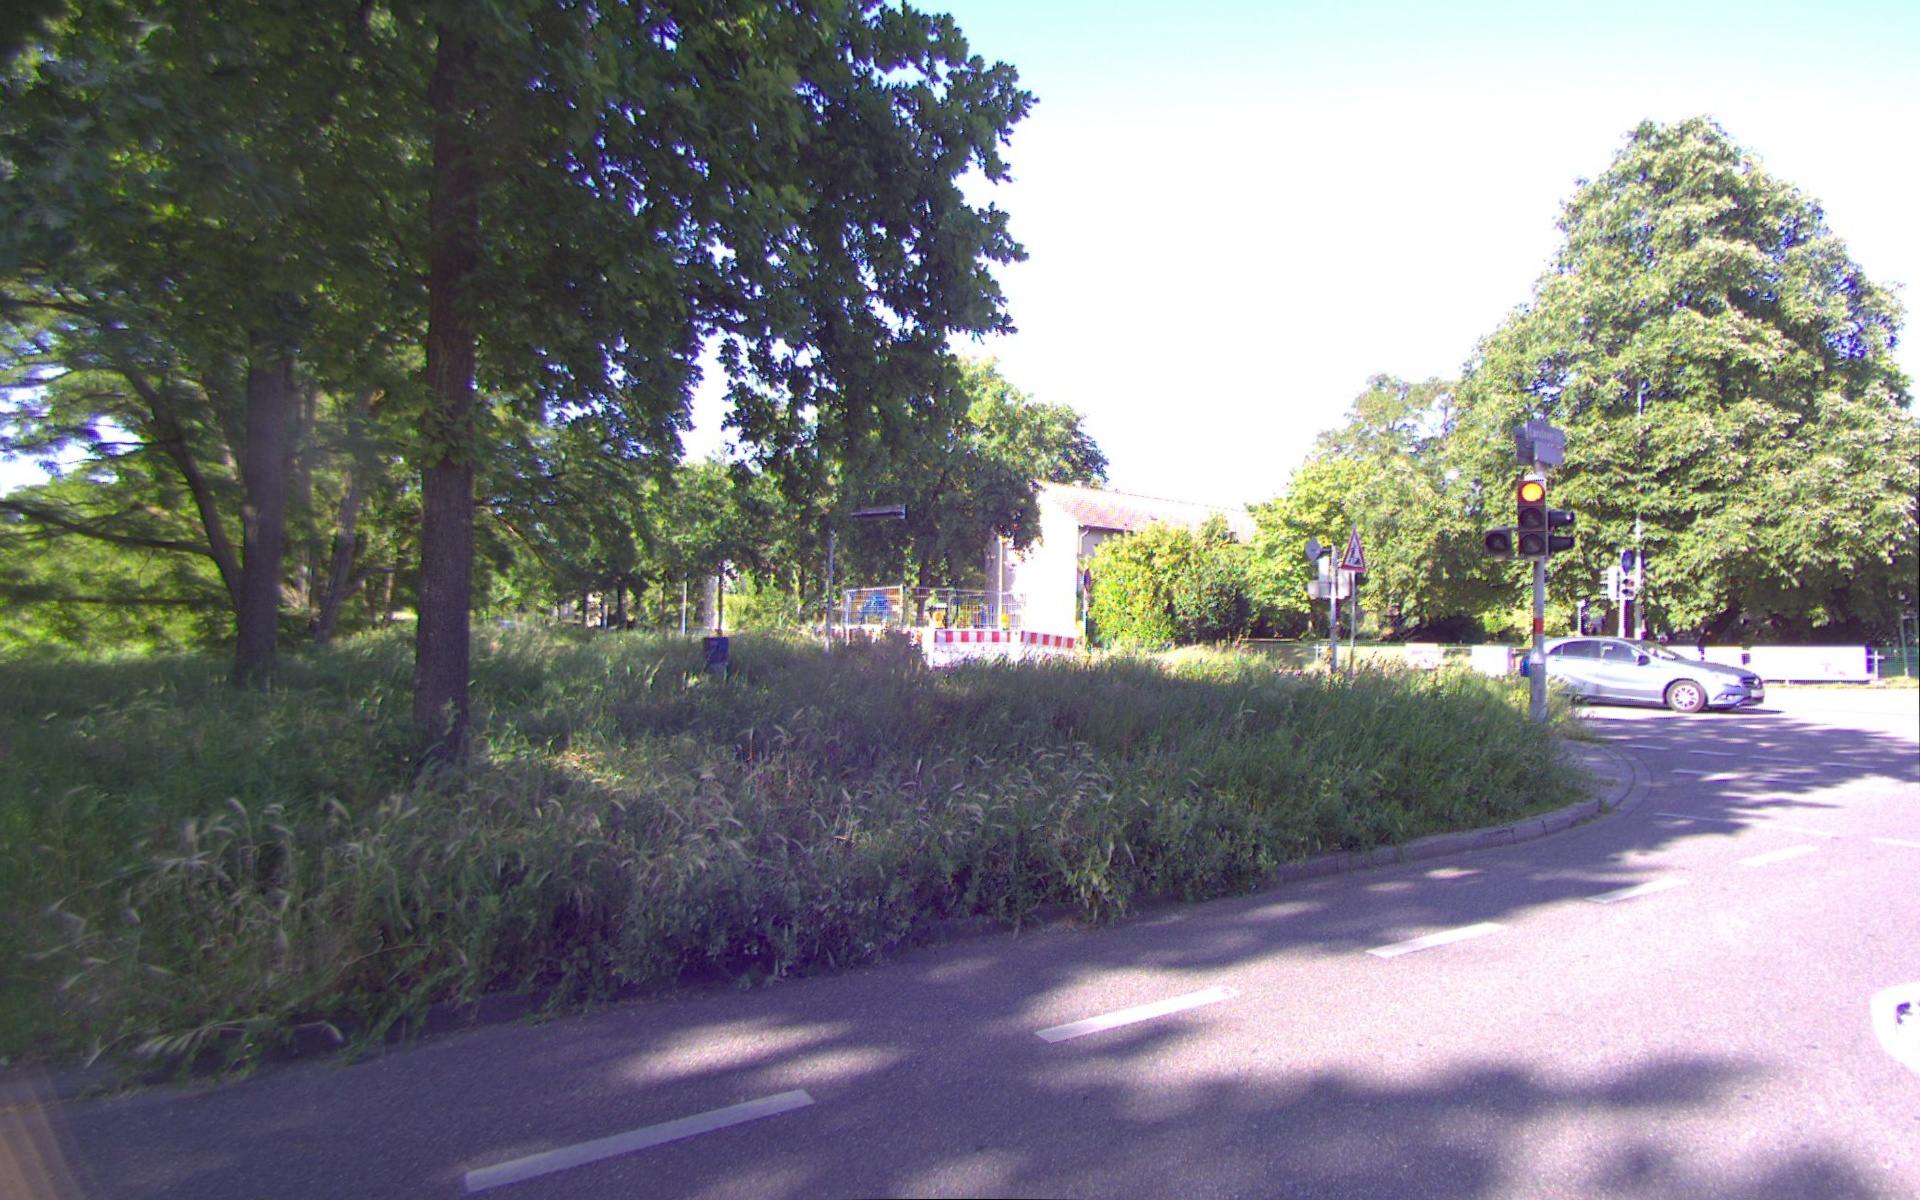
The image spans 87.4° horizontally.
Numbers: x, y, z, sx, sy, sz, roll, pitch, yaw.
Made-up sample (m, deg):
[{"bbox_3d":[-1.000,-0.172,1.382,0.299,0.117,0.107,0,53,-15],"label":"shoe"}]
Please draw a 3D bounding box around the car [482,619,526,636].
[{"bbox_3d":[-47.383,2.866,104.483,3.939,1.673,1.991,2,0,-20],"label":"car"}]

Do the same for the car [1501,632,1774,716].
[{"bbox_3d":[13.714,1.418,20.591,1.892,1.508,4.261,1,-2,-31],"label":"car"}]
